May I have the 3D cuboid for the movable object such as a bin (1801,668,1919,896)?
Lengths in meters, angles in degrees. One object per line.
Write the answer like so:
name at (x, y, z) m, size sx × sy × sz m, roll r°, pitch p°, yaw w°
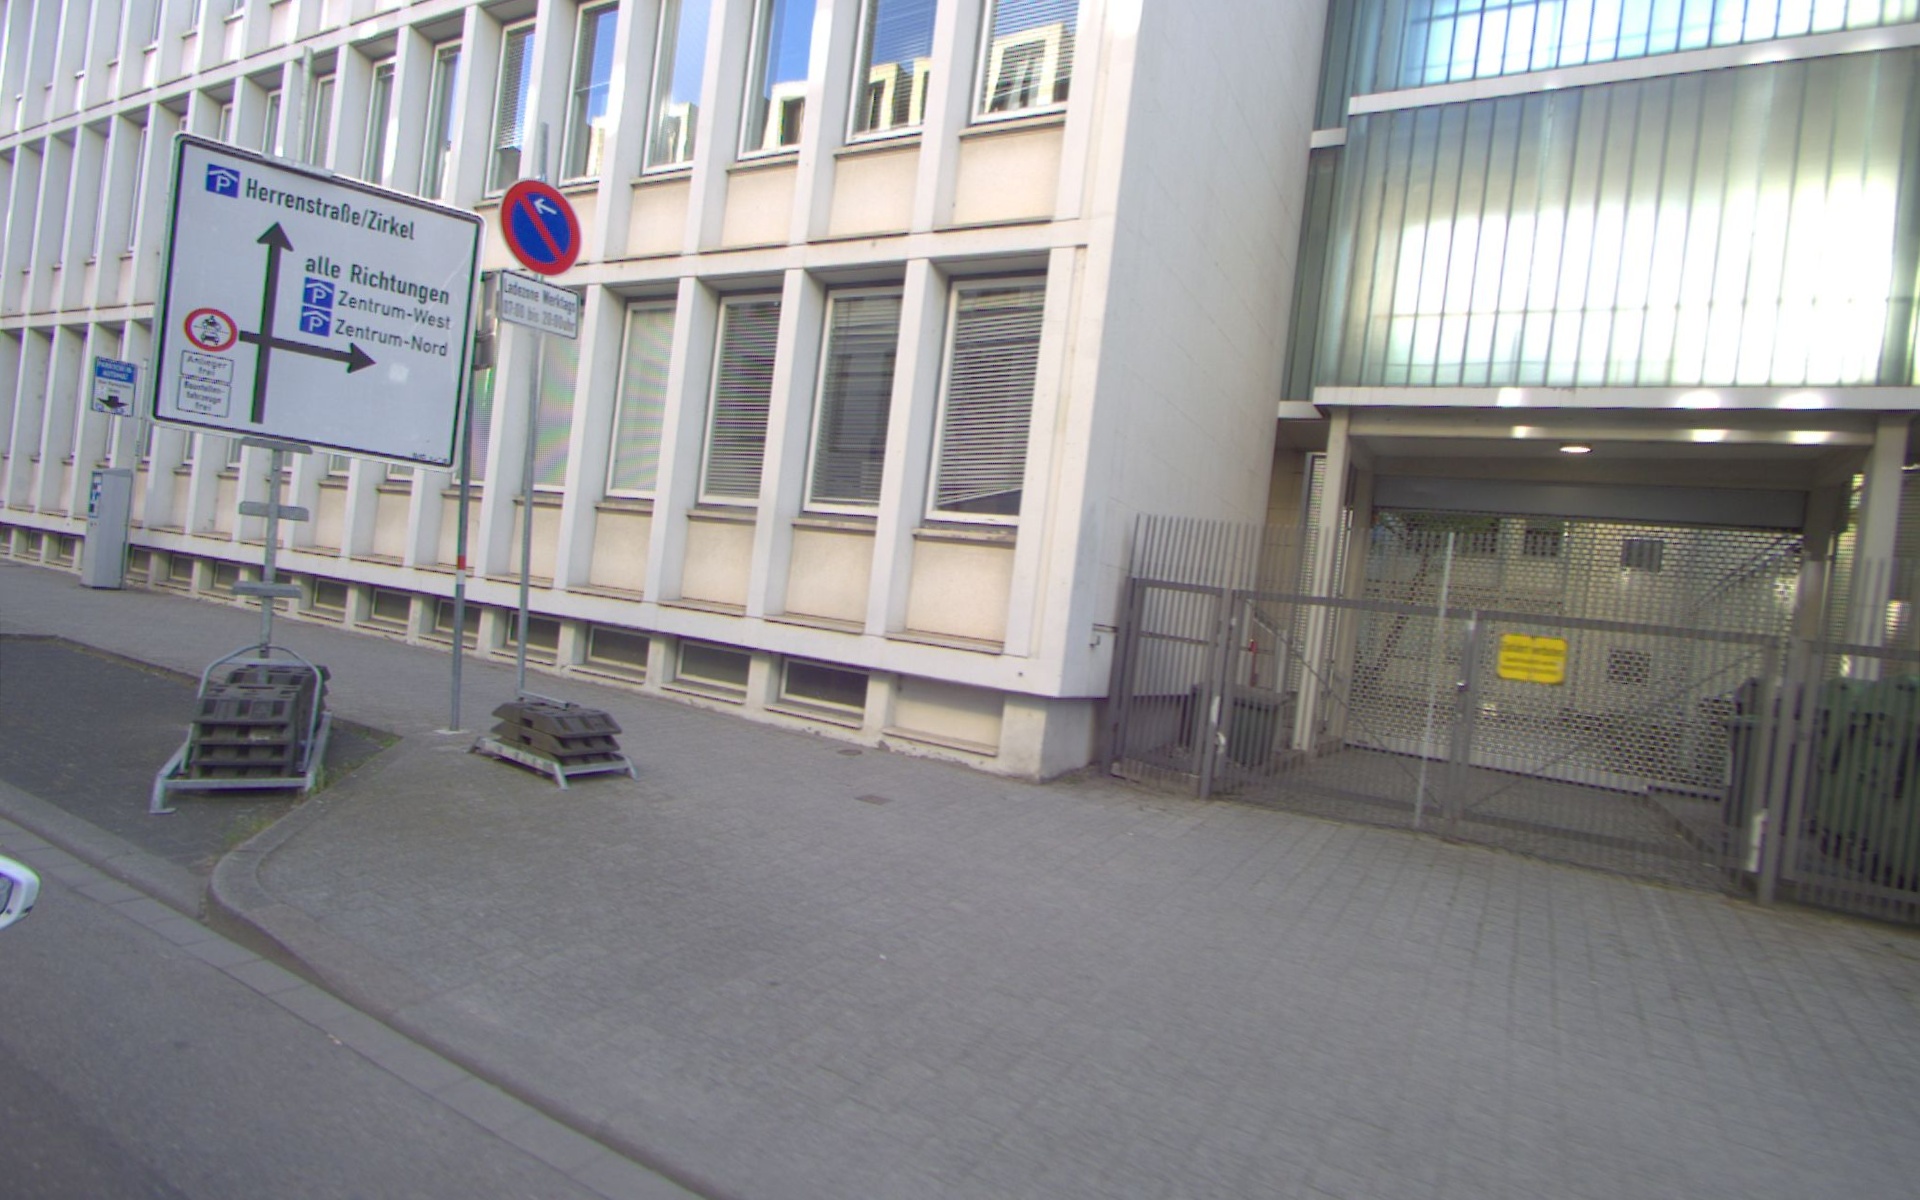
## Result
movable object such as a bin at (6.837, 1.281, 6.910) m, size 1.360 × 1.453 × 0.968 m, roll 6°, pitch -1°, yaw 30°

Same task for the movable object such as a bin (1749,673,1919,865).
movable object such as a bin at (7.907, 1.455, 8.771) m, size 1.360 × 1.453 × 0.968 m, roll 6°, pitch -1°, yaw 30°

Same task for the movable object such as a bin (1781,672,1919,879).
movable object such as a bin at (7.399, 1.370, 7.784) m, size 1.360 × 1.453 × 0.968 m, roll 6°, pitch -1°, yaw 30°

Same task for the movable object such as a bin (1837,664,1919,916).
movable object such as a bin at (6.343, 1.201, 6.024) m, size 1.360 × 1.453 × 0.968 m, roll 6°, pitch -1°, yaw 30°
